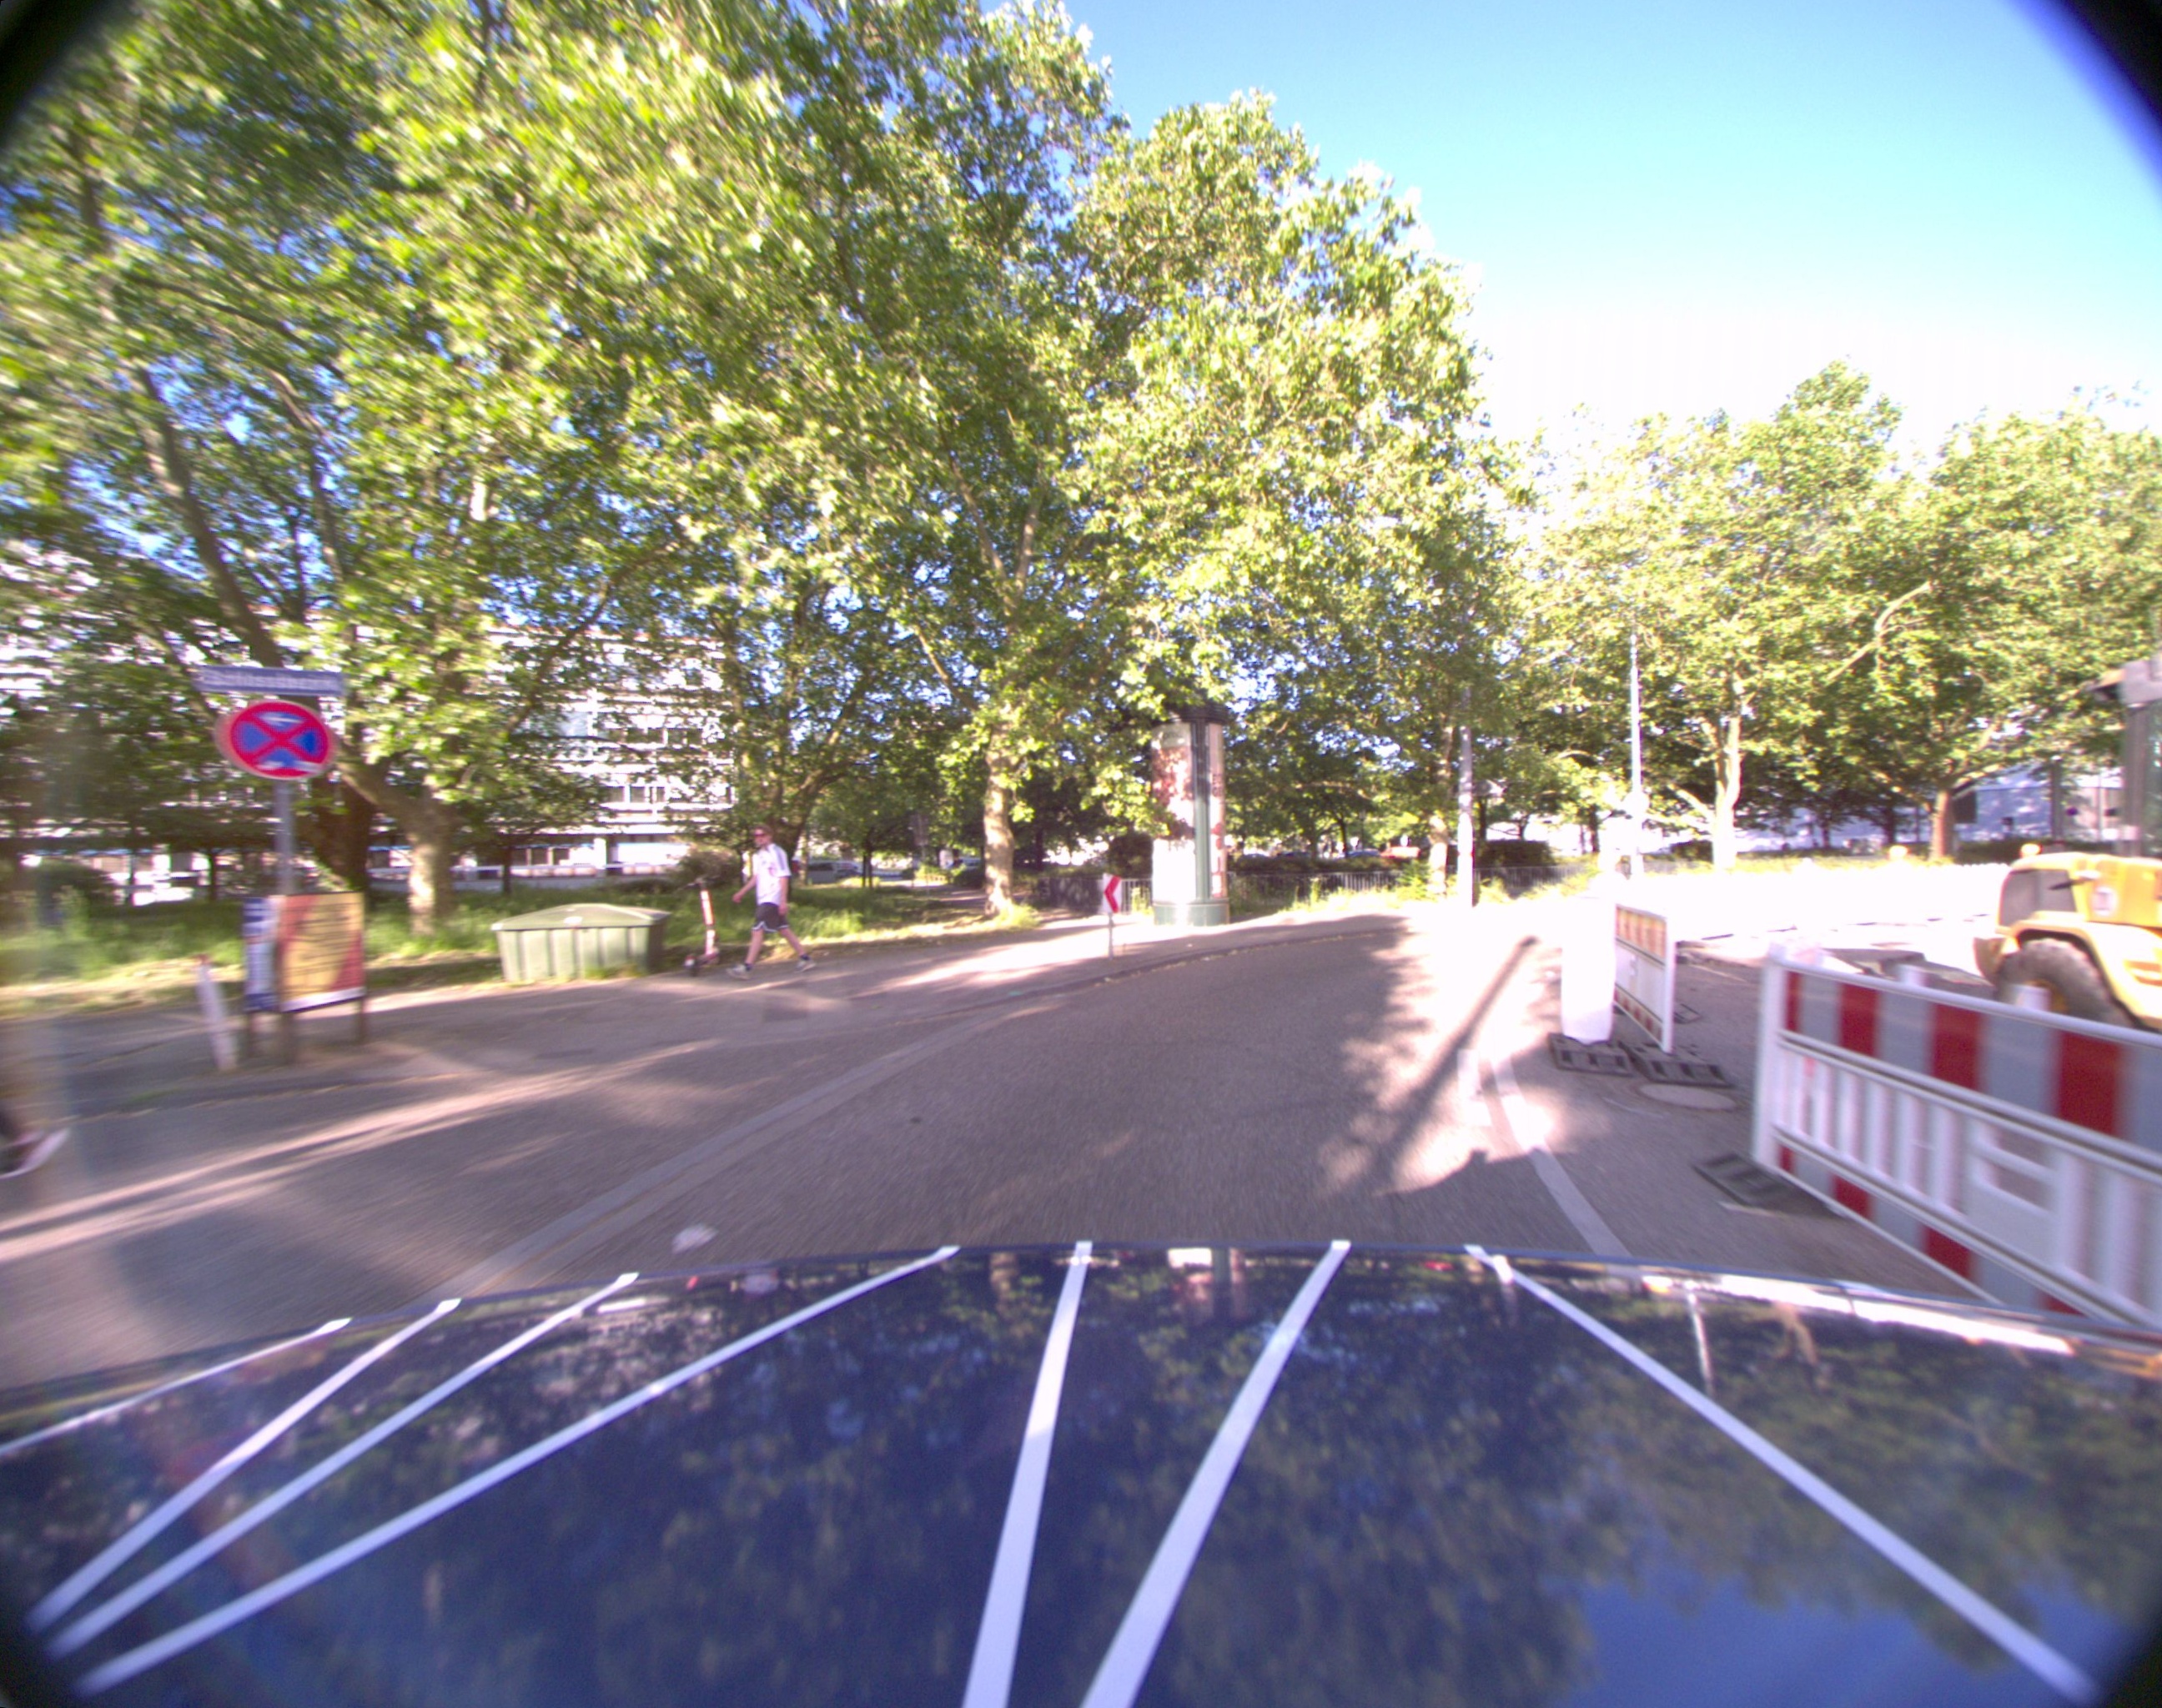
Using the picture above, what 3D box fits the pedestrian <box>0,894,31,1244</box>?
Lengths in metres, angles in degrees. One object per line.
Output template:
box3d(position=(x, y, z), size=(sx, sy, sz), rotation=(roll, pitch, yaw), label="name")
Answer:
box3d(position=(-5.570, 1.015, 3.402), size=(0.708, 1.614, 0.941), rotation=(-1, 1, 39), label="pedestrian")

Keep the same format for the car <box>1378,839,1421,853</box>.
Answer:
box3d(position=(40.760, -1.031, 97.337), size=(2.093, 1.776, 4.900), rotation=(-2, 2, -29), label="car")

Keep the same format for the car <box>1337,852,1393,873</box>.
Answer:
box3d(position=(23.356, 0.720, 62.553), size=(4.003, 1.616, 1.921), rotation=(0, -1, -19), label="car")

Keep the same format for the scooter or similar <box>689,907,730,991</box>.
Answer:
box3d(position=(-4.799, 1.194, 9.808), size=(0.420, 0.909, 1.148), rotation=(-2, 2, -27), label="scooter or similar")

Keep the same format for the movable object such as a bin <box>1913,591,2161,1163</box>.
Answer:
box3d(position=(6.554, 0.126, 2.782), size=(2.560, 3.014, 5.941), rotation=(0, 1, 24), label="movable object such as a bin")

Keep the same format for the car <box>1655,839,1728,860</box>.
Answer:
box3d(position=(54.974, -0.357, 68.545), size=(2.111, 1.818, 4.711), rotation=(-1, 0, -22), label="car")

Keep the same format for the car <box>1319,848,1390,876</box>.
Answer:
box3d(position=(16.884, 0.499, 46.934), size=(4.005, 1.617, 1.760), rotation=(-1, 0, -24), label="car")

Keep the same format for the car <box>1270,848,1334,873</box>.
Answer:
box3d(position=(14.879, 0.457, 51.142), size=(4.003, 1.616, 1.551), rotation=(0, -1, -19), label="car")

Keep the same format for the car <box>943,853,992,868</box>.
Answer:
box3d(position=(-11.565, 0.640, 77.495), size=(4.661, 1.466, 2.011), rotation=(0, -1, -19), label="car")

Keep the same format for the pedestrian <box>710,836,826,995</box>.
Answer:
box3d(position=(-3.808, 0.704, 9.259), size=(1.136, 1.802, 0.745), rotation=(-1, 0, -35), label="pedestrian")

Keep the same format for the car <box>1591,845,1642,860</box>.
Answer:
box3d(position=(52.389, -0.129, 74.392), size=(1.632, 1.476, 3.843), rotation=(-1, 0, -22), label="car")

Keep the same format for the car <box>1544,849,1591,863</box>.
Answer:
box3d(position=(50.324, 0.208, 78.706), size=(1.632, 1.476, 3.843), rotation=(-1, 0, -22), label="car")
